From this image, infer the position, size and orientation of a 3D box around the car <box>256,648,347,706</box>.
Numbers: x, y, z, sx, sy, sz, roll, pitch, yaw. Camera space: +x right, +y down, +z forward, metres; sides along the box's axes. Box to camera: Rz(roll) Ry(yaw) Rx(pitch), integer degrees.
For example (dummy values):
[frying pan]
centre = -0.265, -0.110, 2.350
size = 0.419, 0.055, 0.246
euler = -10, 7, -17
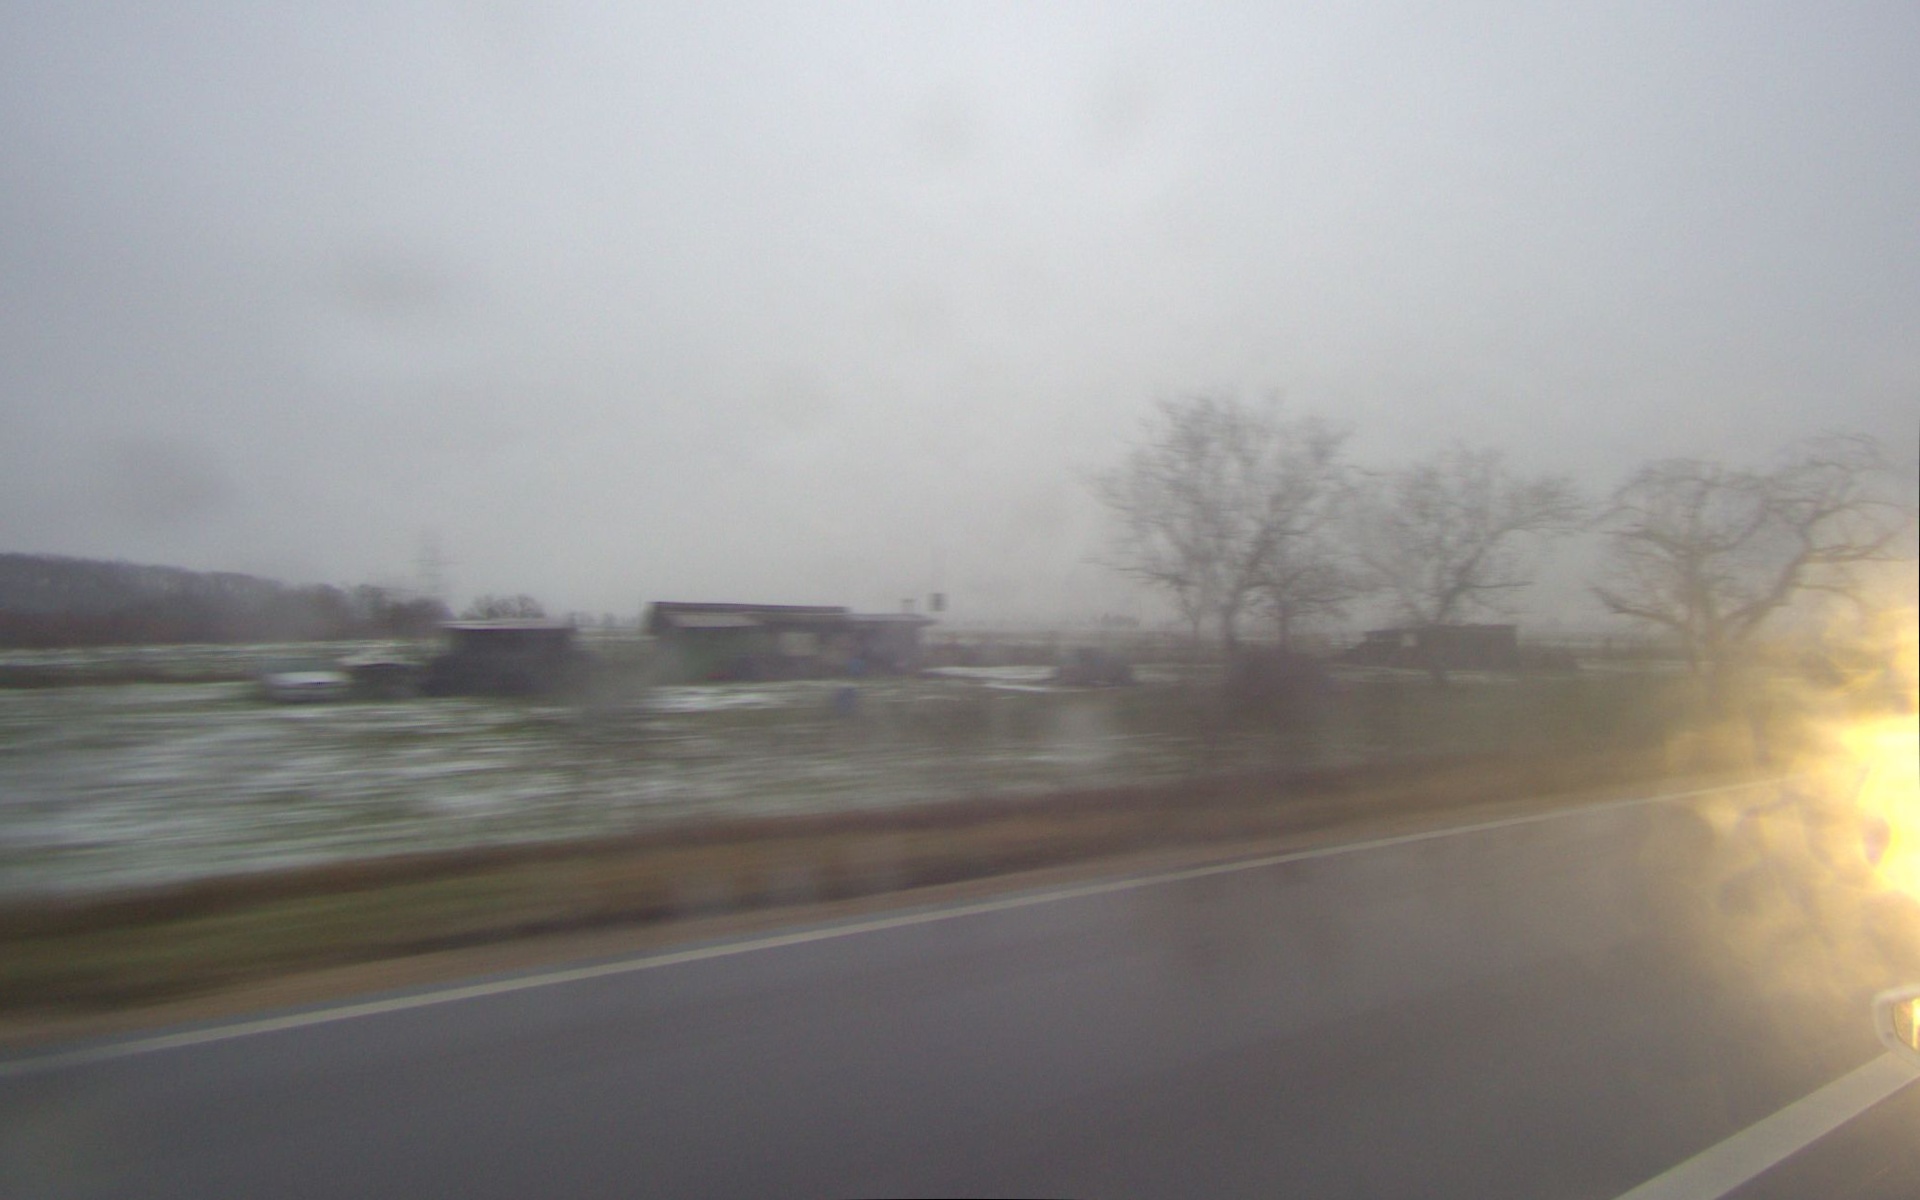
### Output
[car]
centre = -18.827, 2.142, 28.669
size = 1.588, 1.360, 3.407
euler = 1, 0, -43
